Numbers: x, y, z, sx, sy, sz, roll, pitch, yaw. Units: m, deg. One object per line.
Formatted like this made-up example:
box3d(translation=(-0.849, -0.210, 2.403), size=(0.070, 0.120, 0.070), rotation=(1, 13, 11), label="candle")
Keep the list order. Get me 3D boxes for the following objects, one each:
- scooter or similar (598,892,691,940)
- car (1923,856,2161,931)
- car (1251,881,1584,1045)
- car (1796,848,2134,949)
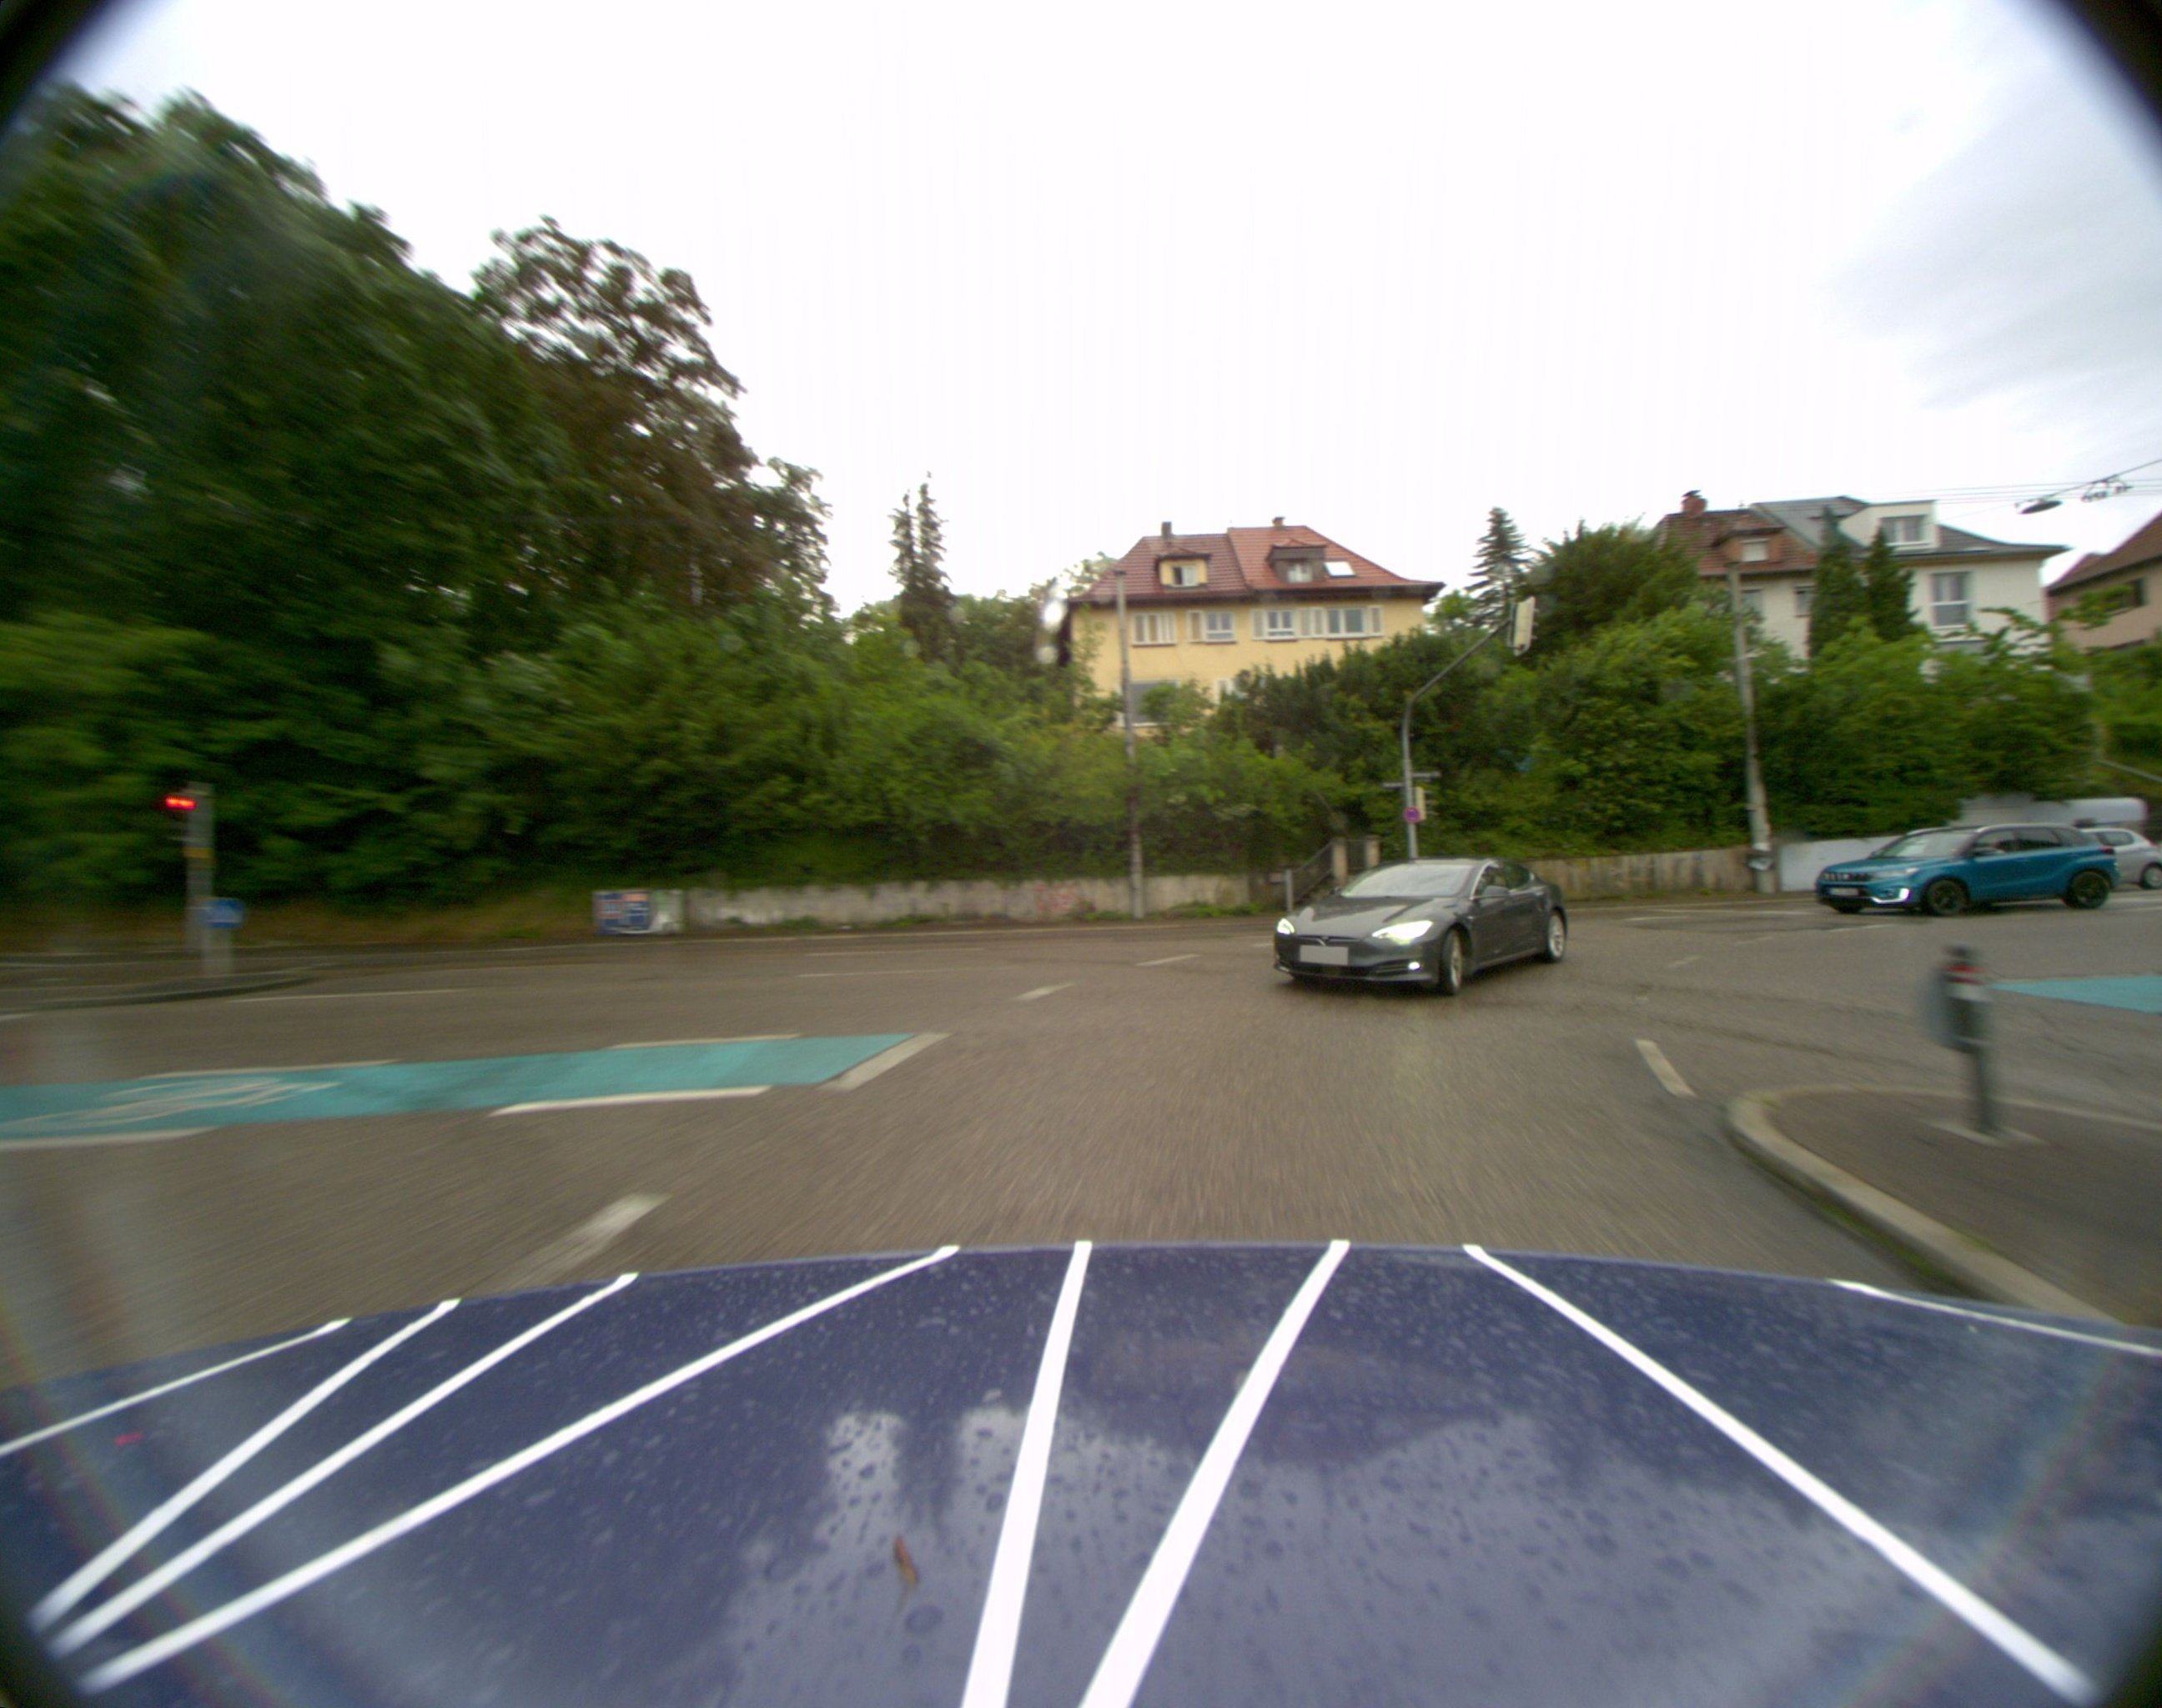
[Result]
box3d(translation=(-10.101, 1.434, 17.643), size=(1.768, 1.068, 0.604), rotation=(0, -2, -7), label="scooter or similar")
box3d(translation=(21.983, 0.906, 17.463), size=(3.362, 1.442, 1.554), rotation=(-4, -2, 2), label="car")
box3d(translation=(4.168, 1.079, 9.084), size=(4.333, 1.383, 1.832), rotation=(0, -1, -39), label="car")
box3d(translation=(16.110, 0.798, 14.021), size=(4.038, 1.600, 1.803), rotation=(-2, -2, 0), label="car")
